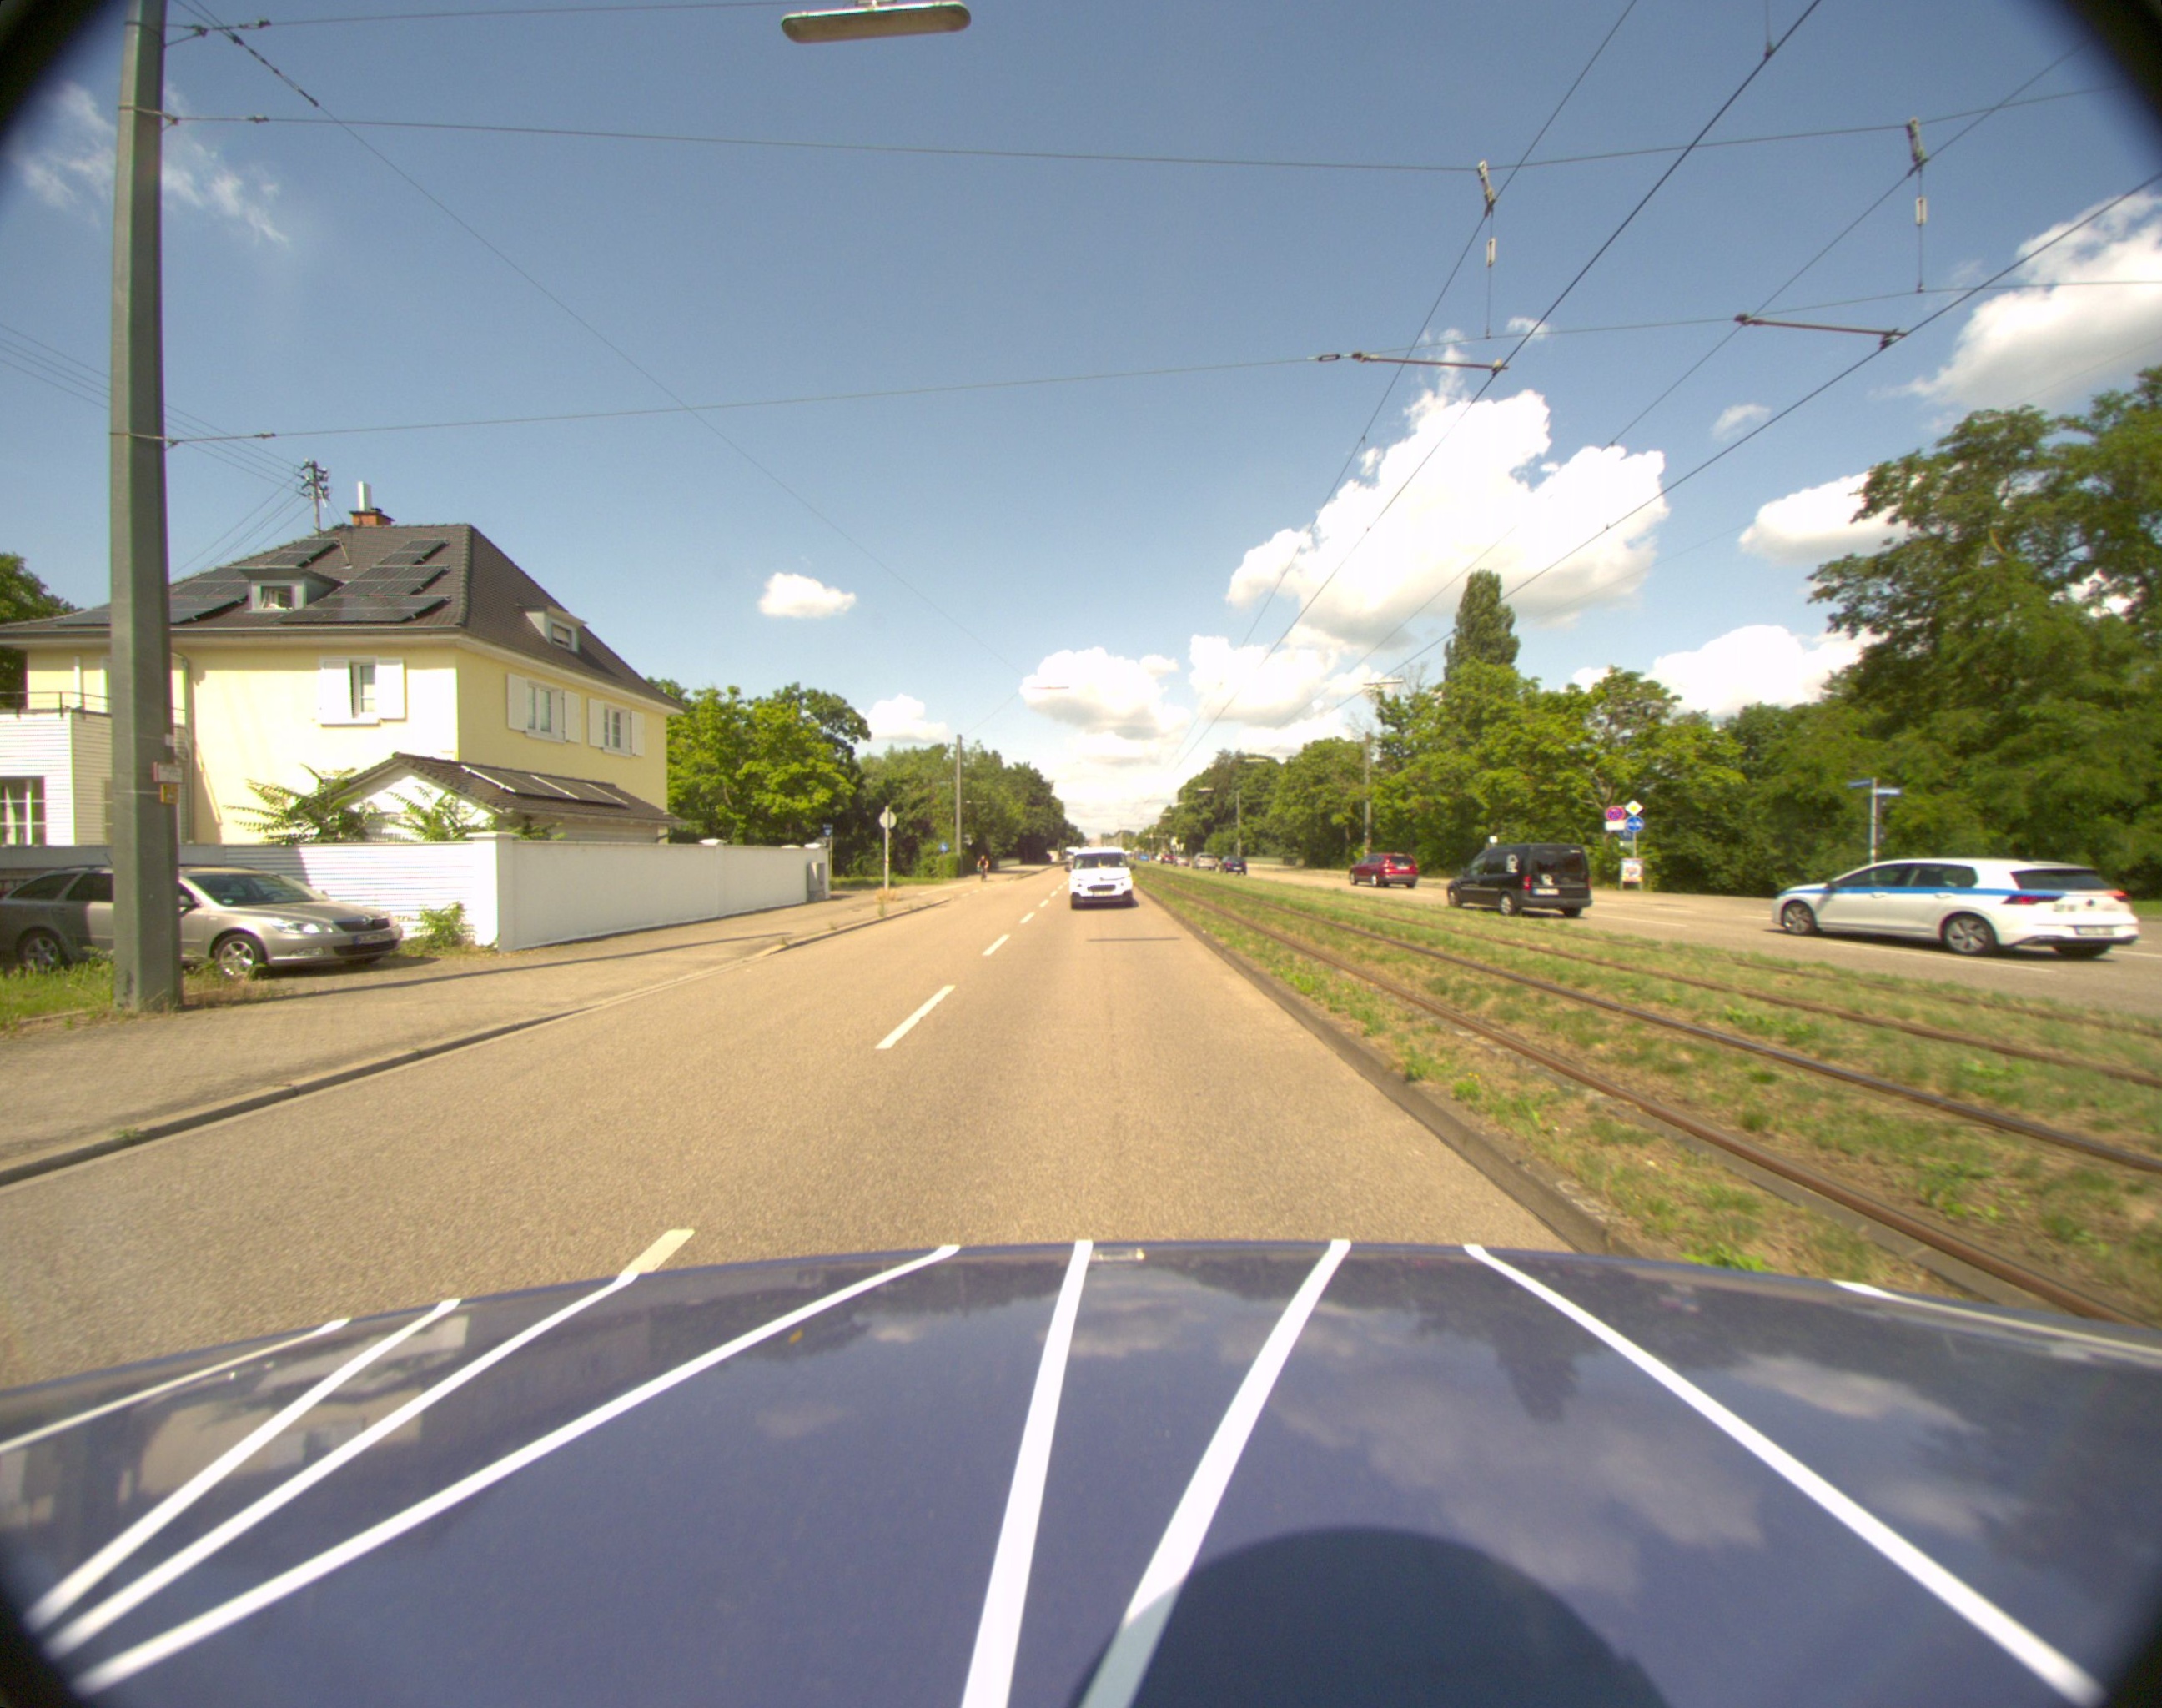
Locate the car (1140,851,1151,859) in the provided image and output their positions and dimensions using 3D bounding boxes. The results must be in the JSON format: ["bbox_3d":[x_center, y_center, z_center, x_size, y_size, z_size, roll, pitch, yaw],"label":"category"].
[{"bbox_3d":[13.702,0.144,161.700,2.121,1.642,4.277,-1,0,2],"label":"car"}]

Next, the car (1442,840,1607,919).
[{"bbox_3d":[10.872,0.561,19.016,1.690,1.736,4.227,-1,0,1],"label":"car"}]

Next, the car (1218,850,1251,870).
[{"bbox_3d":[11.497,0.439,57.011,1.731,1.386,4.277,-1,0,2],"label":"car"}]

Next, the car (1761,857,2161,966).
[{"bbox_3d":[13.807,0.784,12.368,1.690,1.422,4.276,-1,0,1],"label":"car"}]

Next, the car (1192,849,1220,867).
[{"bbox_3d":[12.077,0.343,73.466,2.121,1.642,4.277,-1,0,2],"label":"car"}]

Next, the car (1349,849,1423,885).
[{"bbox_3d":[14.313,0.574,35.934,1.732,1.570,4.276,-1,0,0],"label":"car"}]

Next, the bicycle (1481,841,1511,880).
[{"bbox_3d":[18.213,0.266,33.340,0.801,1.675,0.952,-1,1,1],"label":"bicycle"}]

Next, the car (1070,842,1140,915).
[{"bbox_3d":[0.602,0.637,22.223,1.778,1.850,4.374,-2,1,-1],"label":"car"}]

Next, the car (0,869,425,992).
[{"bbox_3d":[-12.081,0.989,10.540,4.460,1.452,1.763,1,1,1],"label":"car"}]

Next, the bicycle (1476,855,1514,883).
[{"bbox_3d":[18.212,0.639,33.454,0.643,1.181,1.956,-1,0,2],"label":"bicycle"}]

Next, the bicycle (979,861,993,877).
[{"bbox_3d":[-6.337,0.998,50.919,0.556,1.059,1.524,-1,0,7],"label":"bicycle"}]

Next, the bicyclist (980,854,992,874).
[{"bbox_3d":[-6.356,0.663,50.810,0.690,1.345,0.665,-1,1,7],"label":"bicyclist"}]

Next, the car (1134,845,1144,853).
[{"bbox_3d":[14.280,-1.201,187.651,1.999,2.002,3.999,-2,1,-1],"label":"car"}]

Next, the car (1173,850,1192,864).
[{"bbox_3d":[12.433,0.305,93.556,1.921,1.642,4.277,-1,0,2],"label":"car"}]

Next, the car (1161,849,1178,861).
[{"bbox_3d":[13.183,0.116,113.072,2.121,1.642,4.277,-1,0,2],"label":"car"}]
